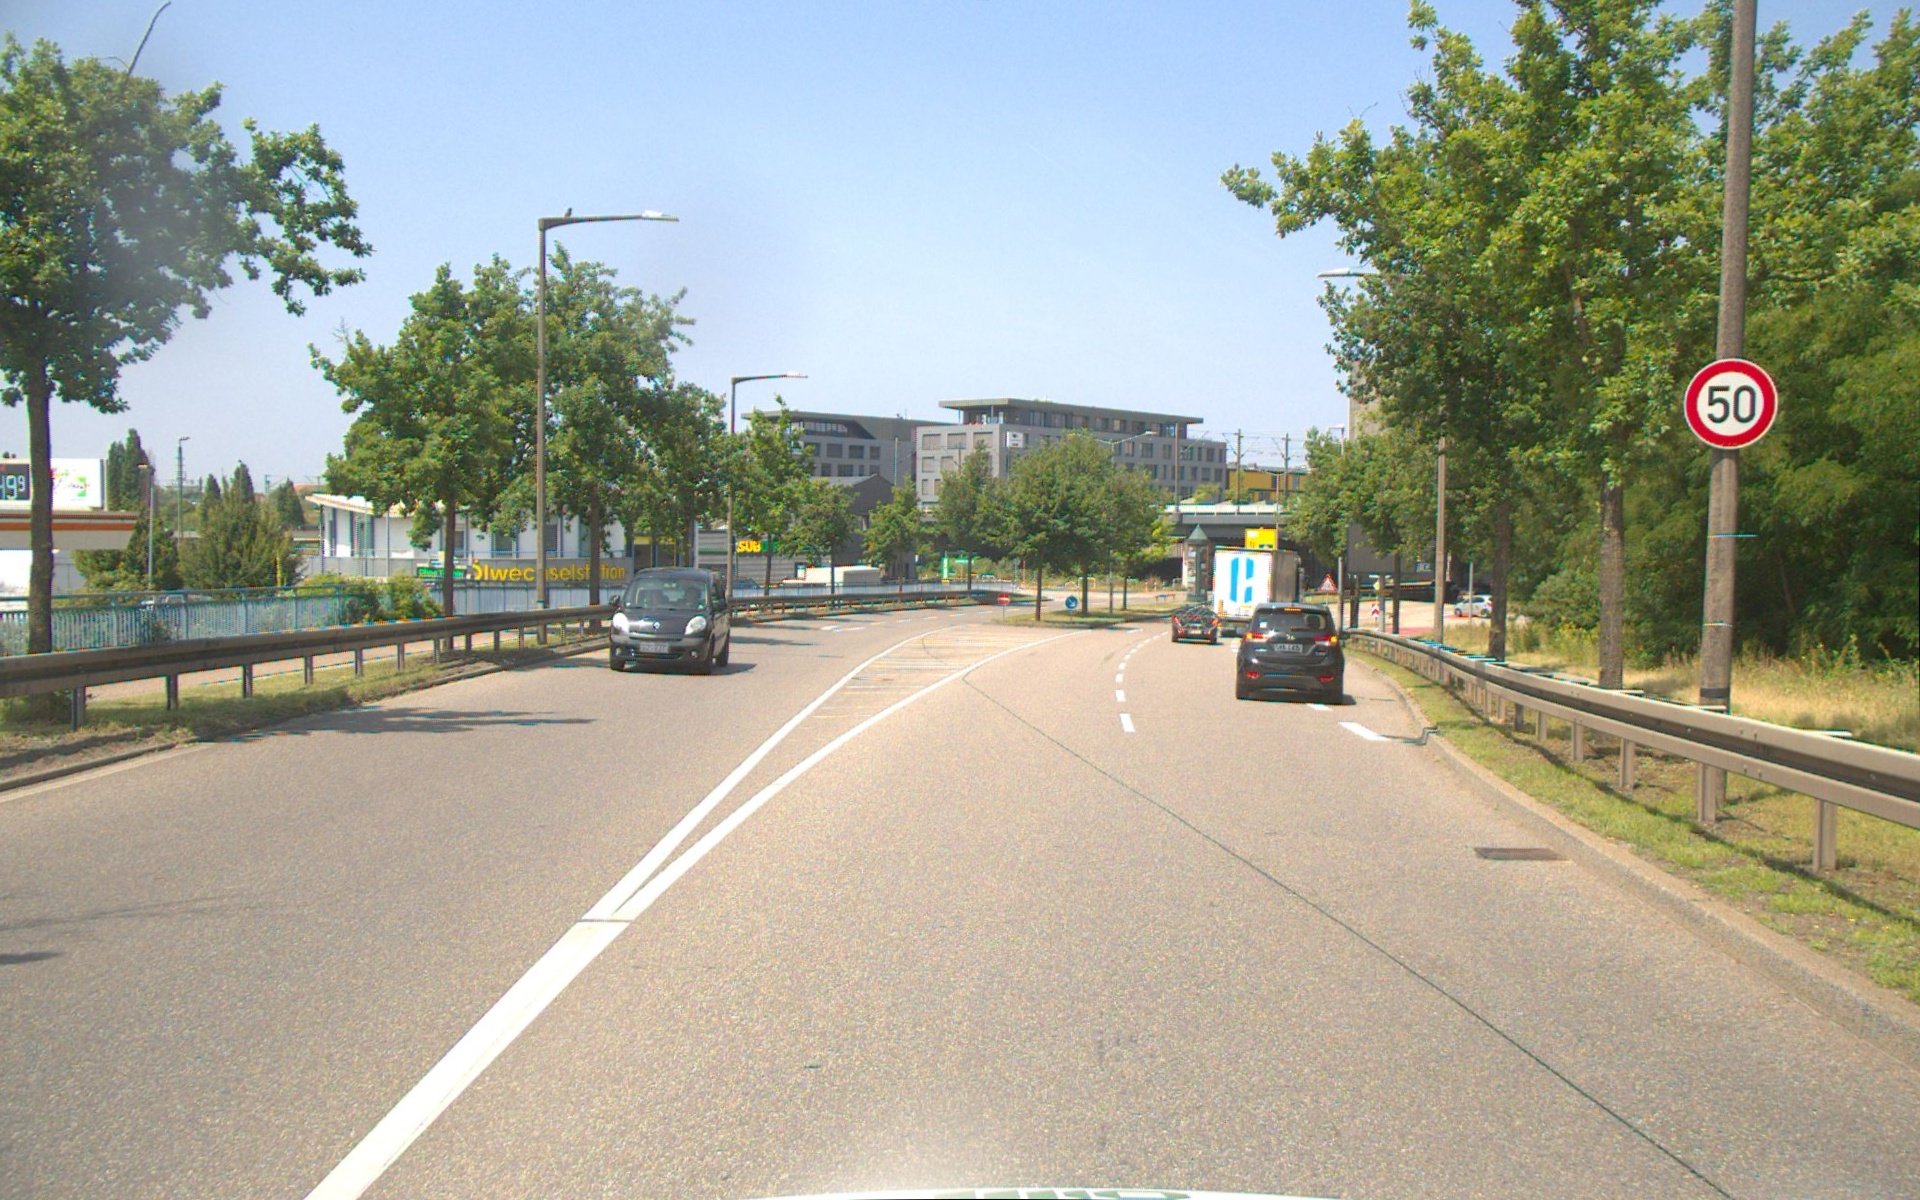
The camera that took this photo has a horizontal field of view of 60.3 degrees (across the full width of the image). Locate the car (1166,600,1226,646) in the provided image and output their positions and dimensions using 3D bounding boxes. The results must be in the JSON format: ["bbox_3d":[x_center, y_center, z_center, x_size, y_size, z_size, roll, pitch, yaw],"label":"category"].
[{"bbox_3d":[9.123,0.864,63.679,1.915,1.662,4.284,0,0,13],"label":"car"}]

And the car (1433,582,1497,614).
[{"bbox_3d":[33.982,-0.124,111.416,3.902,2.049,2.002,1,0,11],"label":"car"}]

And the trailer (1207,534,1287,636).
[{"bbox_3d":[14.045,-0.881,80.024,3.012,4.444,14.789,1,2,13],"label":"trailer"}]

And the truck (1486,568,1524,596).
[{"bbox_3d":[51.176,-1.726,155.326,2.037,2.582,3.976,1,1,42],"label":"truck"}]

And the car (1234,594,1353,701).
[{"bbox_3d":[5.764,0.744,28.293,1.729,1.627,4.081,2,1,14],"label":"car"}]

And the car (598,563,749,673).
[{"bbox_3d":[-5.075,0.295,29.823,1.769,1.790,4.254,2,0,3],"label":"car"}]
